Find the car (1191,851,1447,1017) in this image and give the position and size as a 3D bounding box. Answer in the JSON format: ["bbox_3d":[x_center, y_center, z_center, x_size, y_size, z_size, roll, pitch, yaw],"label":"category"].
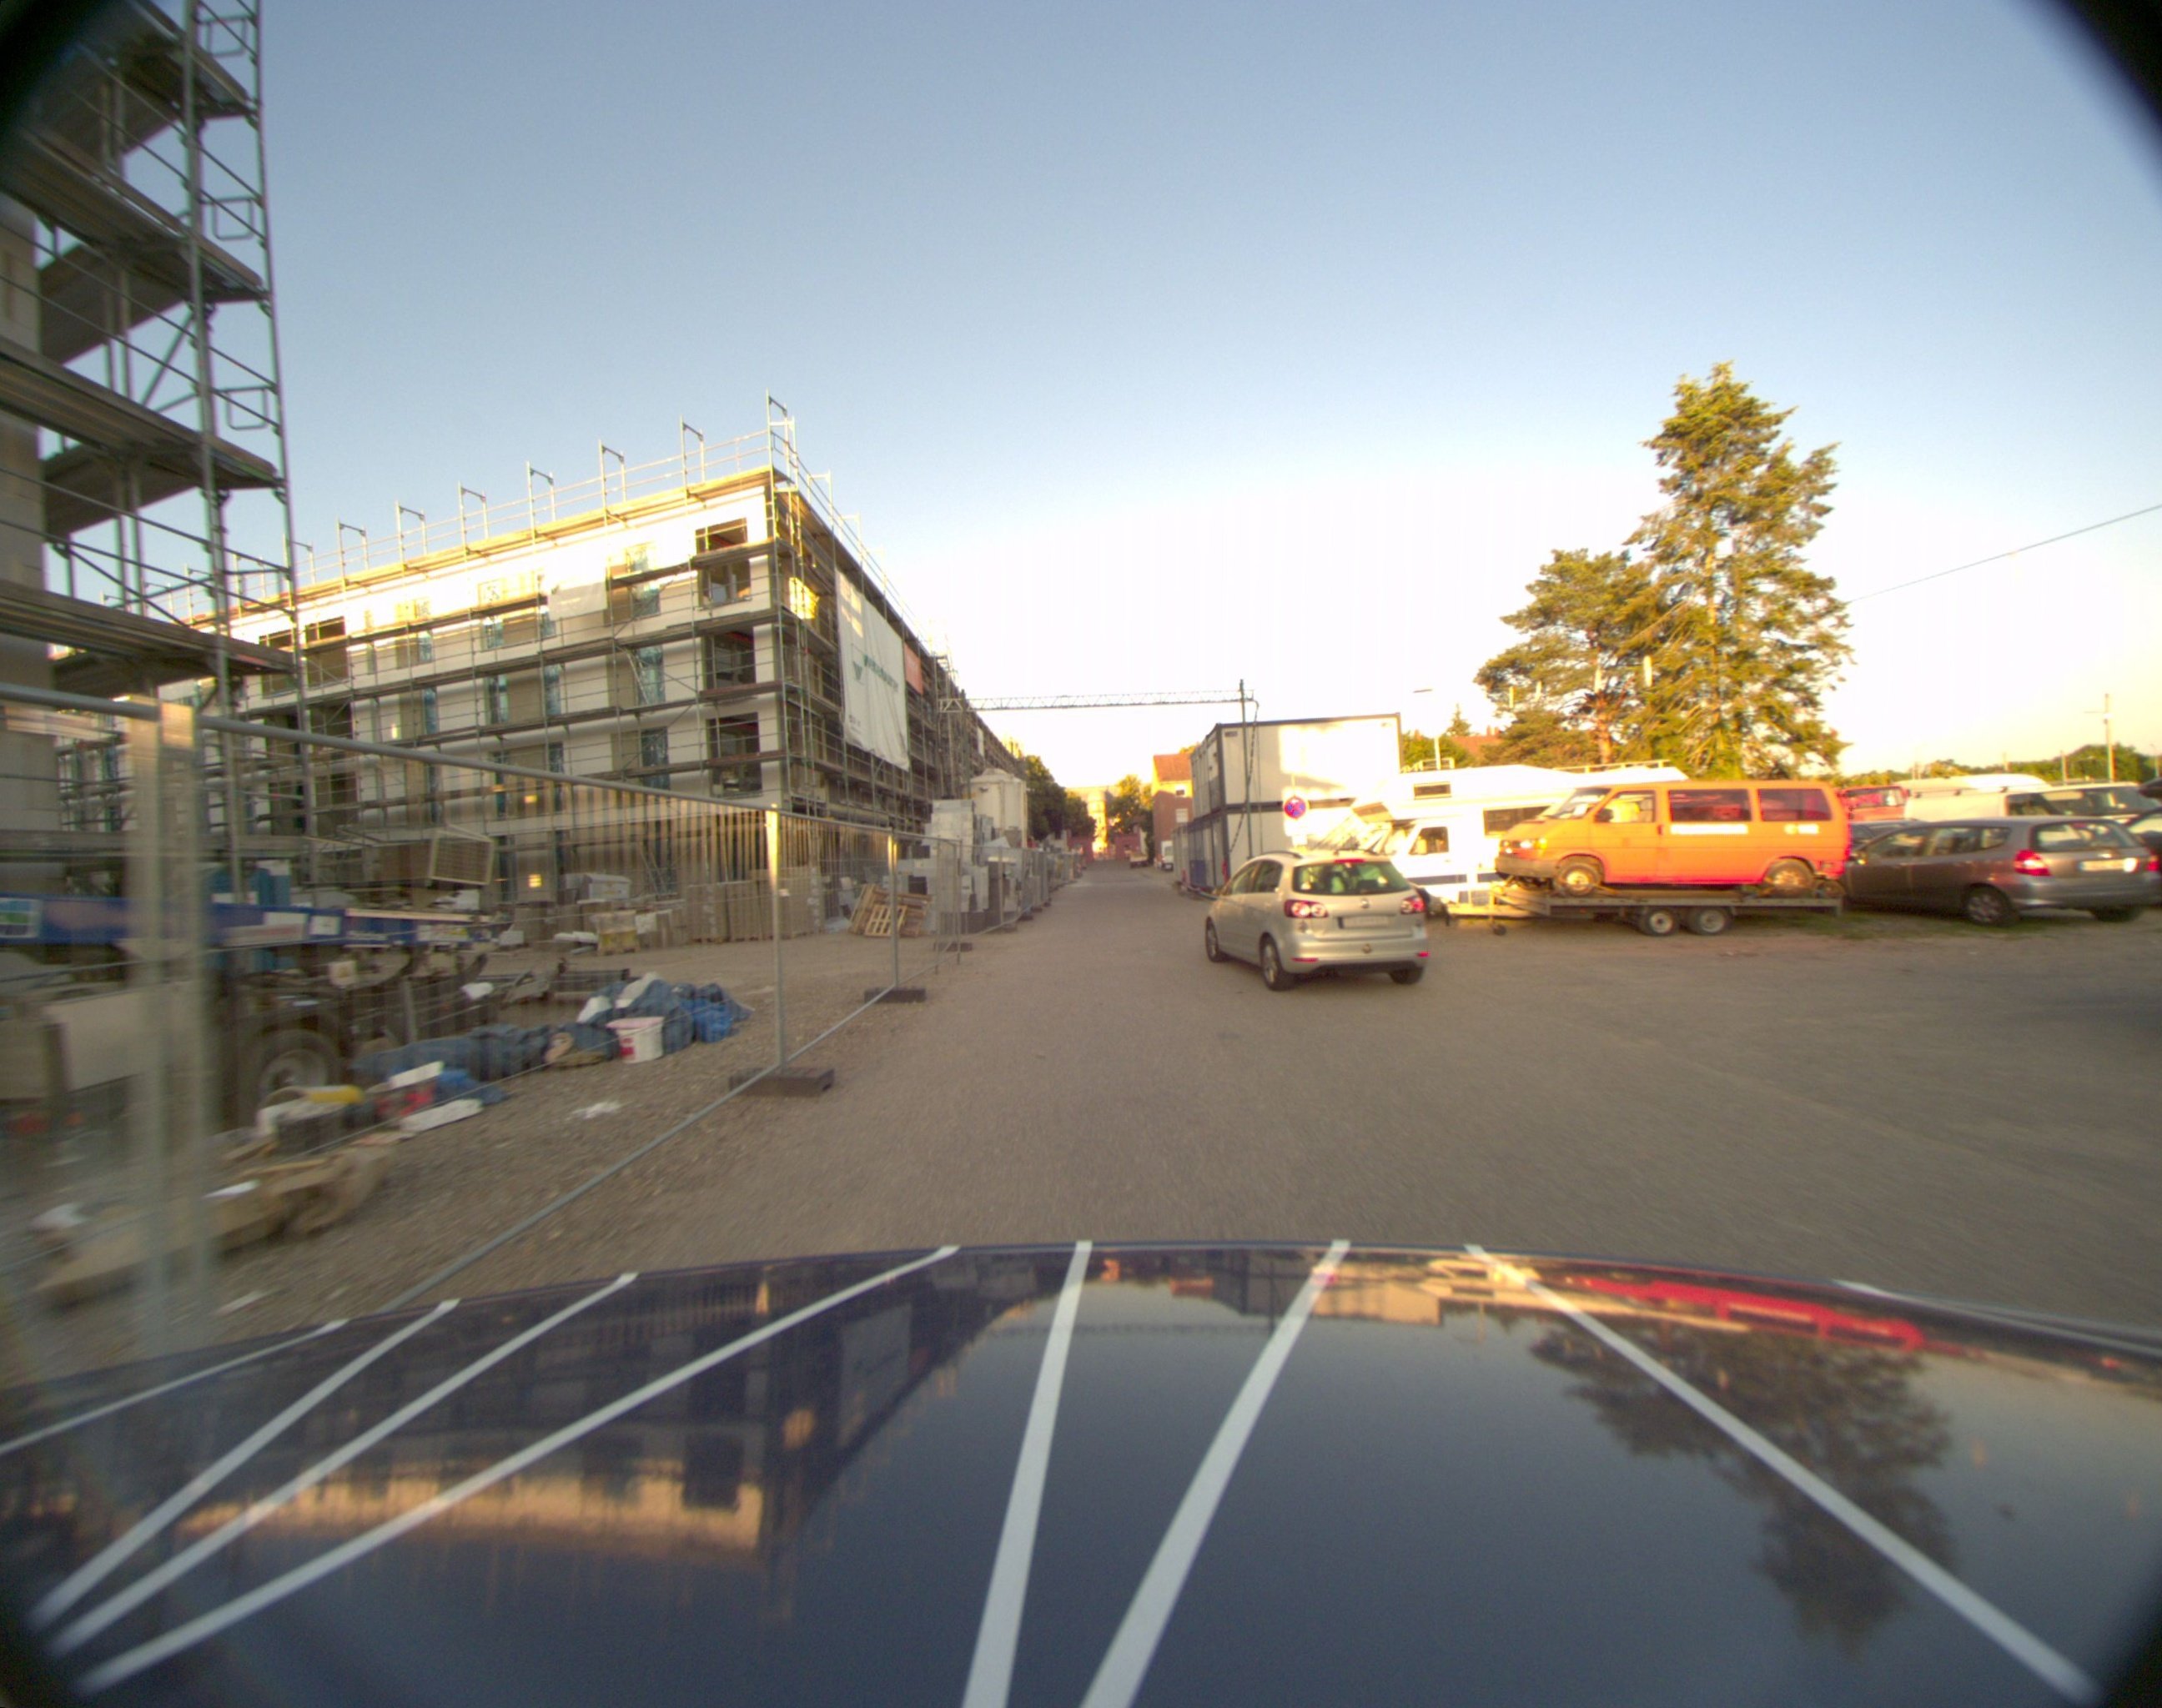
[{"bbox_3d":[2.775,0.824,9.973,1.675,1.610,4.284,-3,0,-4],"label":"car"}]

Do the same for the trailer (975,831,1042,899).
[{"bbox_3d":[-3.364,0.487,36.750,2.581,2.895,6.237,-2,0,-1],"label":"trailer"}]

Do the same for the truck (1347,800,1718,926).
[{"bbox_3d":[8.895,0.182,15.557,6.024,2.031,2.356,-3,0,5],"label":"truck"}]

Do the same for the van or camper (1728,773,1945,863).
[{"bbox_3d":[26.784,-1.165,27.354,2.260,2.754,5.802,-3,0,5],"label":"van or camper"}]

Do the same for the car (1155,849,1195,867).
[{"bbox_3d":[9.407,0.386,76.330,3.725,1.507,1.810,-5,0,4],"label":"car"}]

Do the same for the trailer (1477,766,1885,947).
[{"bbox_3d":[9.602,0.054,12.634,4.801,2.419,2.135,-4,2,9],"label":"trailer"}]

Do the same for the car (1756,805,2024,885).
[{"bbox_3d":[18.749,-0.109,18.036,1.846,1.558,4.827,-3,-2,12],"label":"car"}]

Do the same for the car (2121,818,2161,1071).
[{"bbox_3d":[8.663,0.476,3.684,4.043,1.610,1.851,-3,0,12],"label":"car"}]

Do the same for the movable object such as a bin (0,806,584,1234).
[{"bbox_3d":[-6.760,0.910,4.147,2.069,2.260,8.370,-2,0,4],"label":"movable object such as a bin"}]

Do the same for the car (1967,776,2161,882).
[{"bbox_3d":[16.467,-0.421,11.461,1.847,1.514,3.940,-3,0,7],"label":"car"}]

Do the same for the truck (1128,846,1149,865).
[{"bbox_3d":[7.204,0.187,95.213,1.842,2.089,3.739,-5,0,-4],"label":"truck"}]

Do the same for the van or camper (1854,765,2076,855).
[{"bbox_3d":[30.857,-1.430,26.901,2.206,2.692,5.753,-3,0,15],"label":"van or camper"}]

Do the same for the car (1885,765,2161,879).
[{"bbox_3d":[21.185,-0.566,17.066,1.846,2.135,4.828,-3,-2,14],"label":"car"}]

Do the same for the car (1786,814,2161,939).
[{"bbox_3d":[13.463,0.272,11.683,1.847,1.514,3.940,-3,0,7],"label":"car"}]

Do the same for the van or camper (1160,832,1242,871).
[{"bbox_3d":[10.074,-0.175,64.294,6.469,2.624,2.408,-5,0,4],"label":"van or camper"}]
